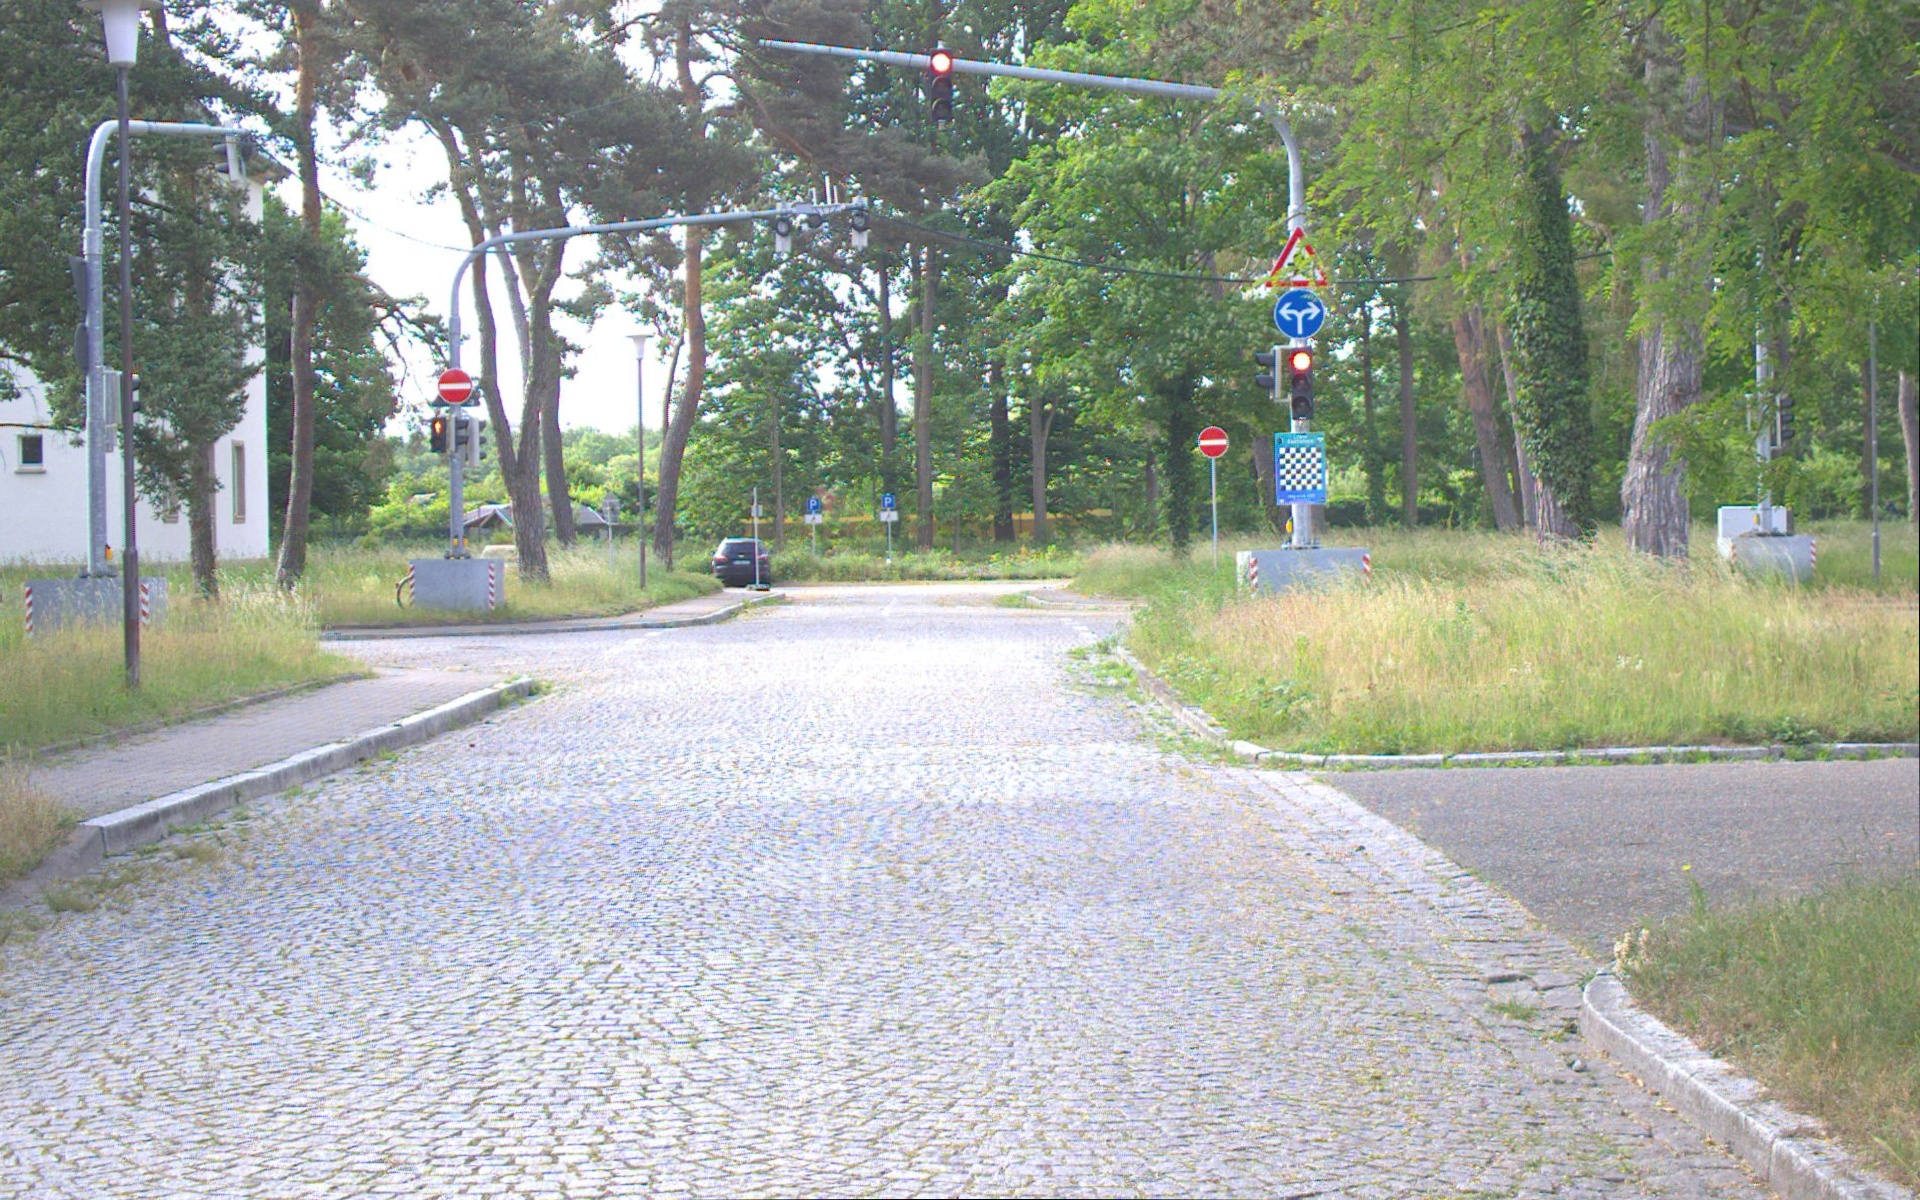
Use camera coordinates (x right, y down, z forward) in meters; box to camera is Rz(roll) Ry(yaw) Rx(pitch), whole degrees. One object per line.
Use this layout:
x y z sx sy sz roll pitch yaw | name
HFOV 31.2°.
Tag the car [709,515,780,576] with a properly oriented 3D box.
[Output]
-6.795 -1.740 108.795 2.056 1.840 4.000 -1 1 -1 | car
